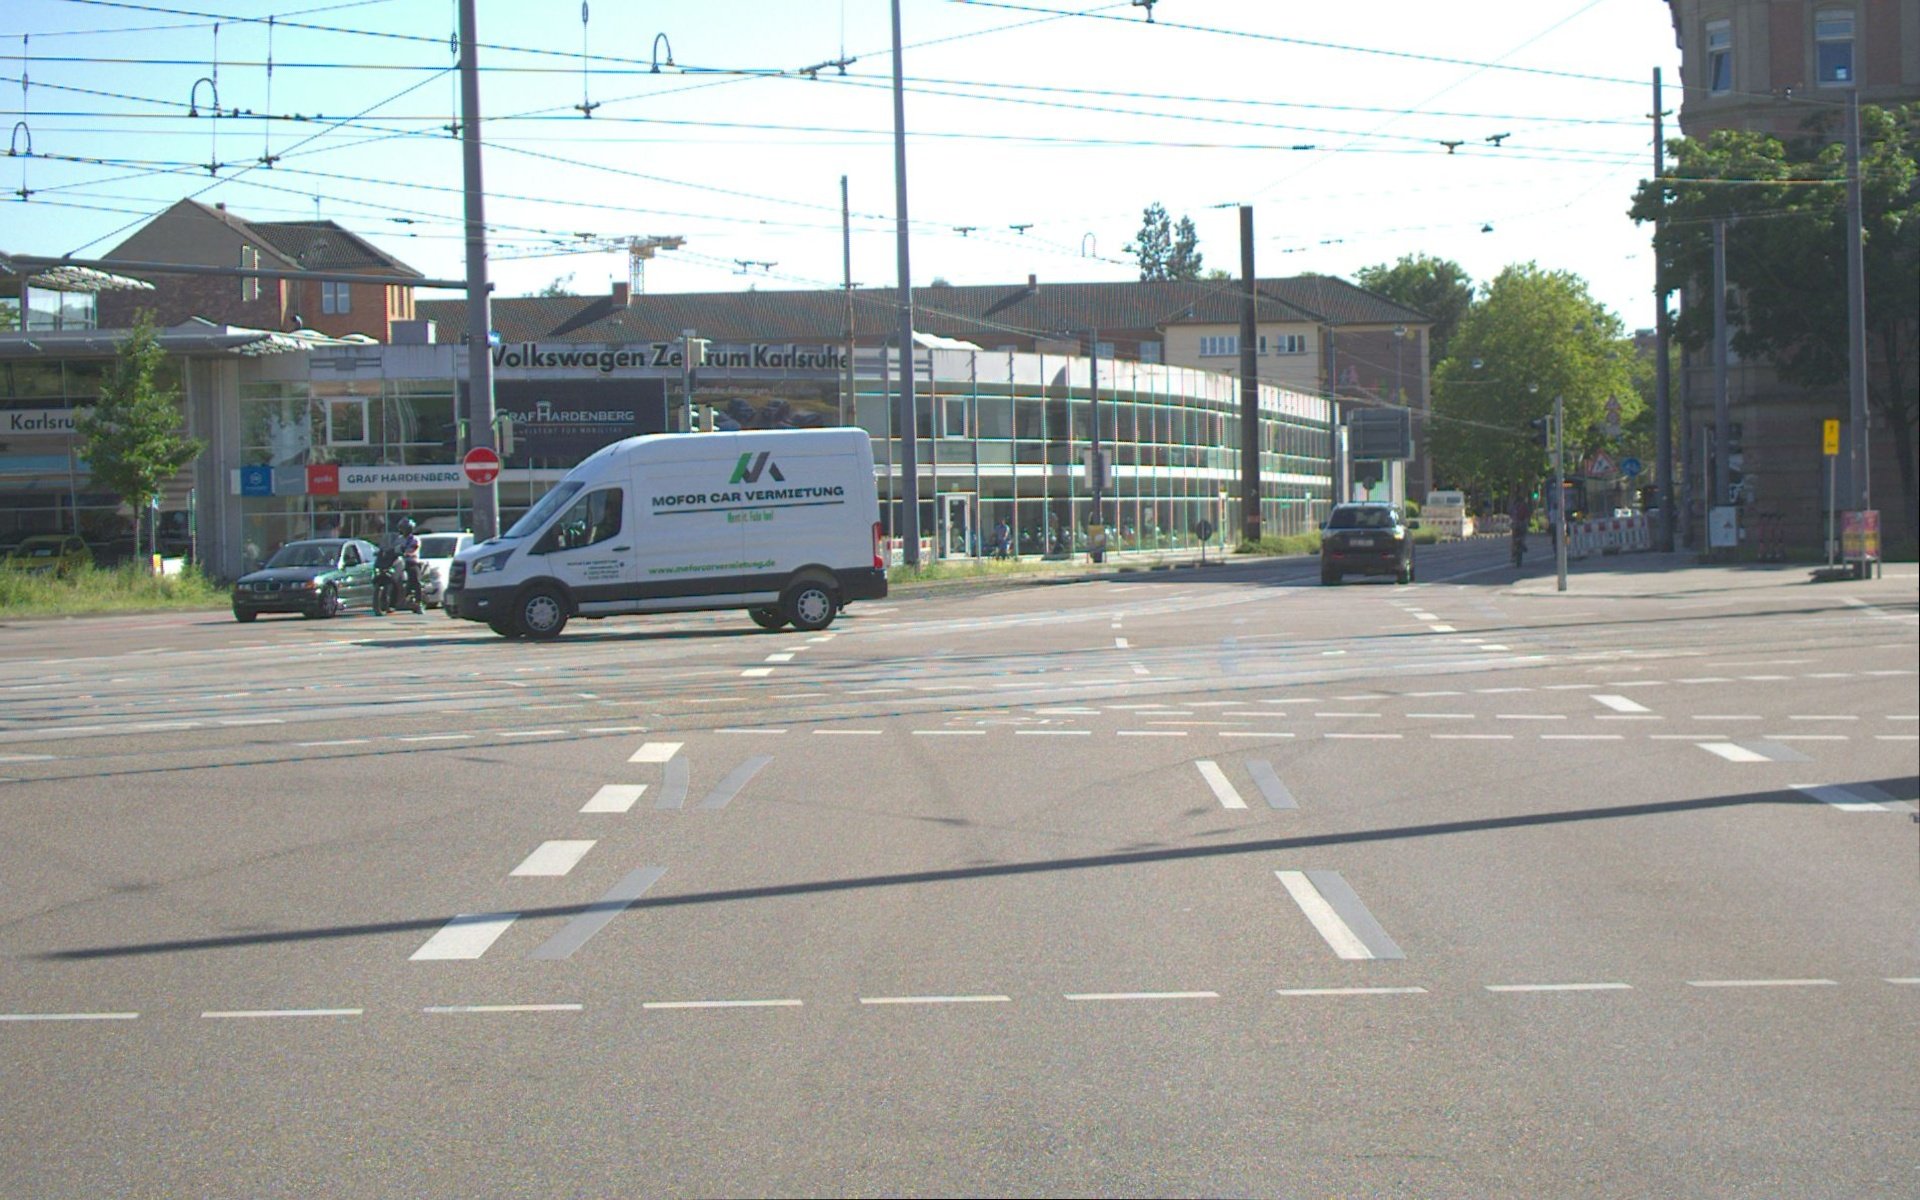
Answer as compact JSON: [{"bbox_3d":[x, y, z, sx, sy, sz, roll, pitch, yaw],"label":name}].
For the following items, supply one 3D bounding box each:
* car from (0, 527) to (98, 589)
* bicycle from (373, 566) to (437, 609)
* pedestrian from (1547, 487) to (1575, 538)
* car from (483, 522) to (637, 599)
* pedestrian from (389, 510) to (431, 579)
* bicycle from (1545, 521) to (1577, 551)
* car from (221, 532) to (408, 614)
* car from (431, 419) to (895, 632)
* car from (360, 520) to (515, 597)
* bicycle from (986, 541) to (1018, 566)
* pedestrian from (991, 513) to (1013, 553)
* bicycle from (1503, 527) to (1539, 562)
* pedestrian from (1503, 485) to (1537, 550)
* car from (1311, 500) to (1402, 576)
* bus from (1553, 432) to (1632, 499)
[{"bbox_3d":[-26.533,-1.235,99.875,1.966,1.700,4.084,-1,1,-1],"label":"car"},{"bbox_3d":[-9.731,-0.224,60.352,0.423,0.715,1.633,-1,1,17],"label":"bicycle"},{"bbox_3d":[17.917,-2.609,102.544,0.746,1.517,0.717,-1,1,15],"label":"pedestrian"},{"bbox_3d":[-7.522,-0.766,64.944,1.627,1.377,3.735,-1,1,14],"label":"car"},{"bbox_3d":[-9.686,-0.973,60.544,0.423,1.200,0.749,-1,1,17],"label":"pedestrian"},{"bbox_3d":[17.944,-1.916,102.614,0.743,0.867,1.930,-1,1,15],"label":"bicycle"},{"bbox_3d":[-11.390,-0.495,60.875,1.705,1.349,3.698,-1,1,17],"label":"car"},{"bbox_3d":[-4.051,-1.041,46.924,5.903,2.735,2.145,-2,1,-19],"label":"car"},{"bbox_3d":[-10.121,-0.819,66.826,1.627,1.419,3.683,-1,1,14],"label":"car"},{"bbox_3d":[1.286,-1.425,105.183,0.423,0.715,1.473,-1,1,23],"label":"bicycle"},{"bbox_3d":[1.292,-2.055,105.212,0.423,1.200,0.680,-1,1,23],"label":"pedestrian"},{"bbox_3d":[14.250,-1.407,87.348,0.743,0.867,1.930,-1,1,14],"label":"bicycle"},{"bbox_3d":[14.290,-2.099,87.725,0.803,1.626,0.718,-1,1,14],"label":"pedestrian"},{"bbox_3d":[8.236,-1.303,71.175,1.699,1.497,4.263,-1,1,9],"label":"car"},{"bbox_3d":[39.623,-8.288,214.637,3.839,3.595,24.853,1,1,13],"label":"bus"}]
